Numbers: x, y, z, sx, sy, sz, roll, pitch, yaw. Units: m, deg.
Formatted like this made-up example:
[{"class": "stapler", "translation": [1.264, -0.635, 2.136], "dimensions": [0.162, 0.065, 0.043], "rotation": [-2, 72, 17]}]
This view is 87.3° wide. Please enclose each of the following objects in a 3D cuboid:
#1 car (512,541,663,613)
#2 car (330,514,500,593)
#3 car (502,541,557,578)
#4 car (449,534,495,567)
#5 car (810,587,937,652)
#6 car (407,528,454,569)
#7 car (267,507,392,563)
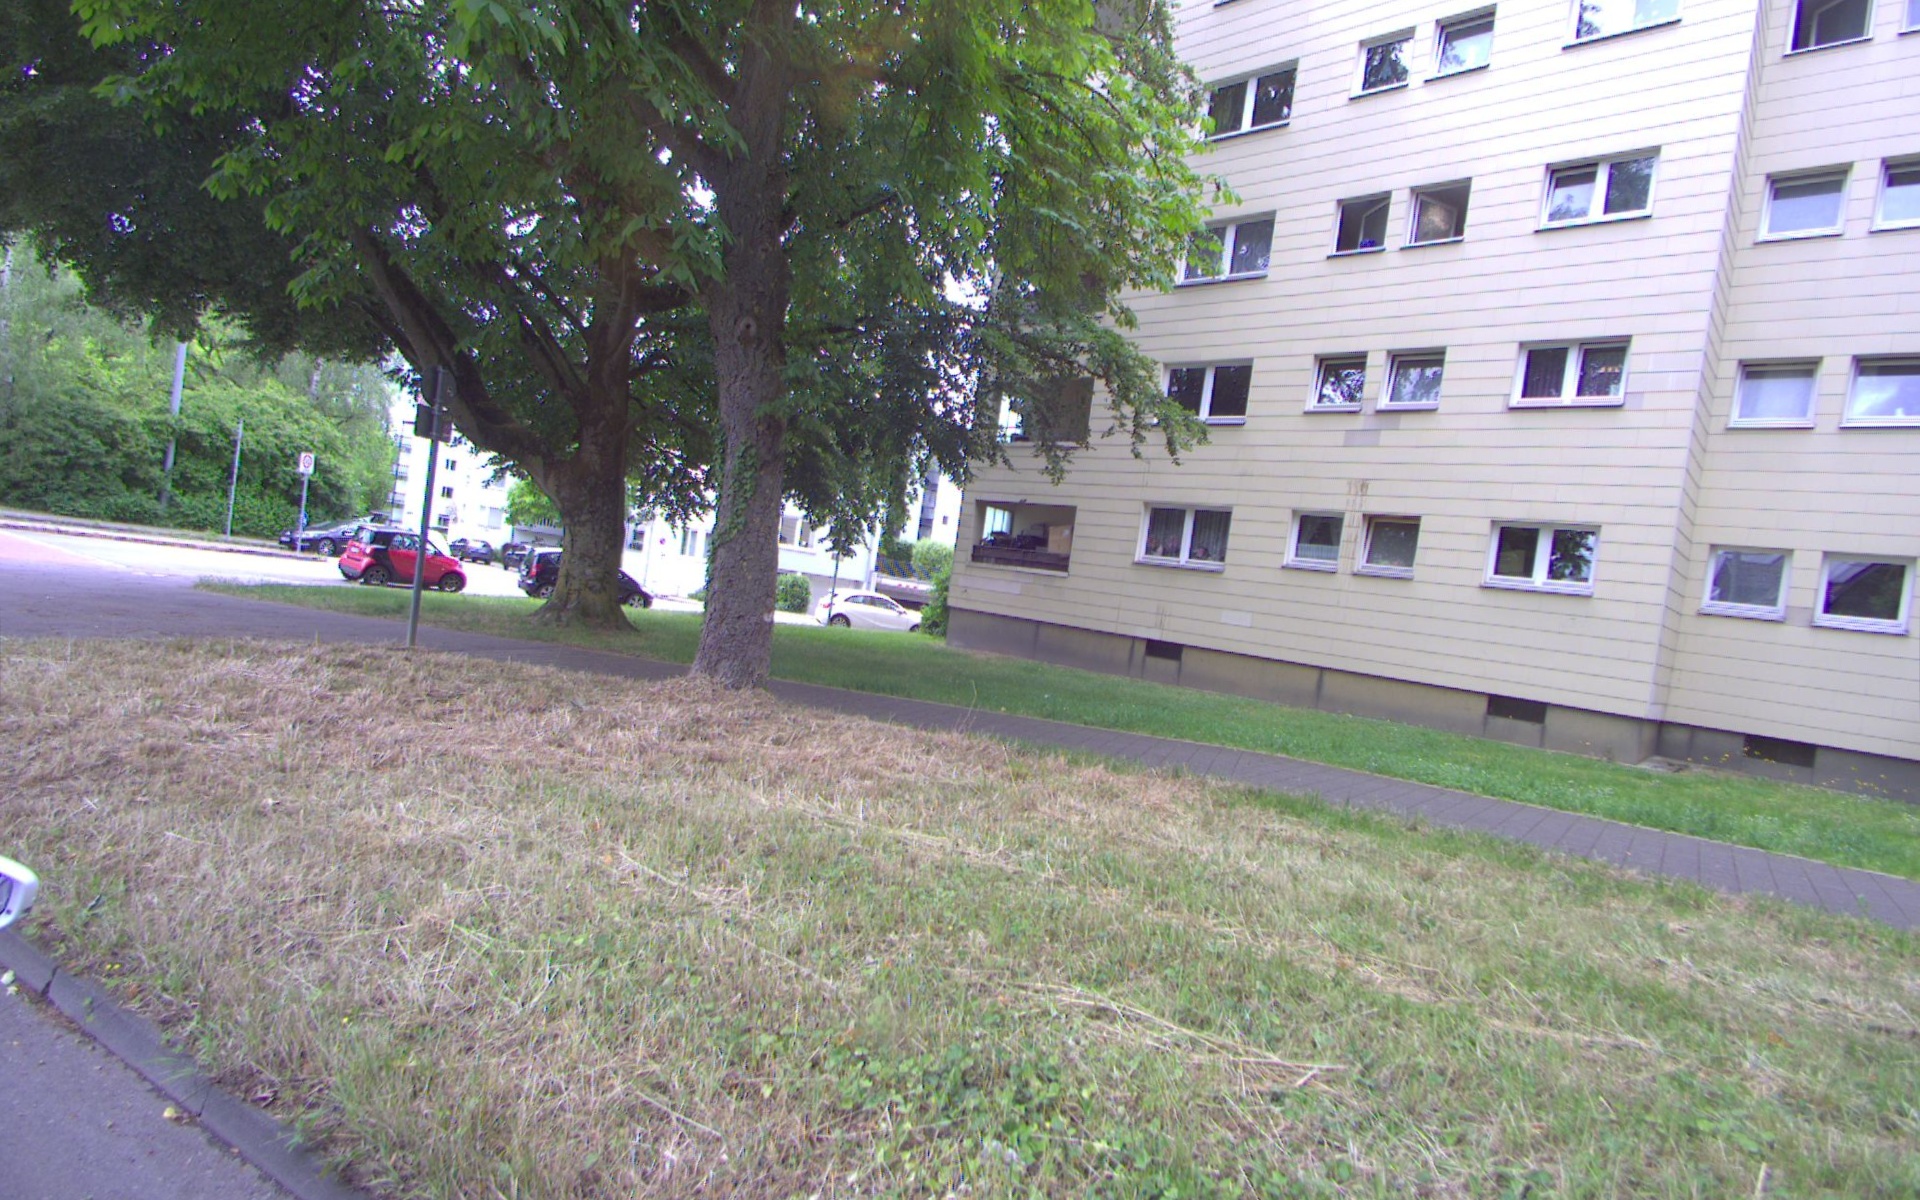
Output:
[{"class": "car", "translation": [-11.060, -0.674, 29.925], "dimensions": [3.814, 1.631, 1.713], "rotation": [6, 1, -33]}, {"class": "car", "translation": [-14.530, -1.206, 26.951], "dimensions": [1.702, 1.631, 3.516], "rotation": [8, 1, 37]}, {"class": "car", "translation": [-23.191, -2.195, 54.074], "dimensions": [1.713, 1.631, 3.813], "rotation": [6, 1, -38]}, {"class": "car", "translation": [-30.116, -3.068, 62.027], "dimensions": [1.713, 1.631, 3.813], "rotation": [6, 1, -38]}, {"class": "car", "translation": [-2.888, 0.632, 33.314], "dimensions": [3.796, 1.631, 1.721], "rotation": [7, 1, -18]}, {"class": "car", "translation": [-24.880, -2.439, 47.186], "dimensions": [1.709, 1.631, 3.823], "rotation": [6, 1, -30]}, {"class": "car", "translation": [-23.405, -2.402, 37.435], "dimensions": [1.702, 1.549, 3.515], "rotation": [8, 1, 38]}]
